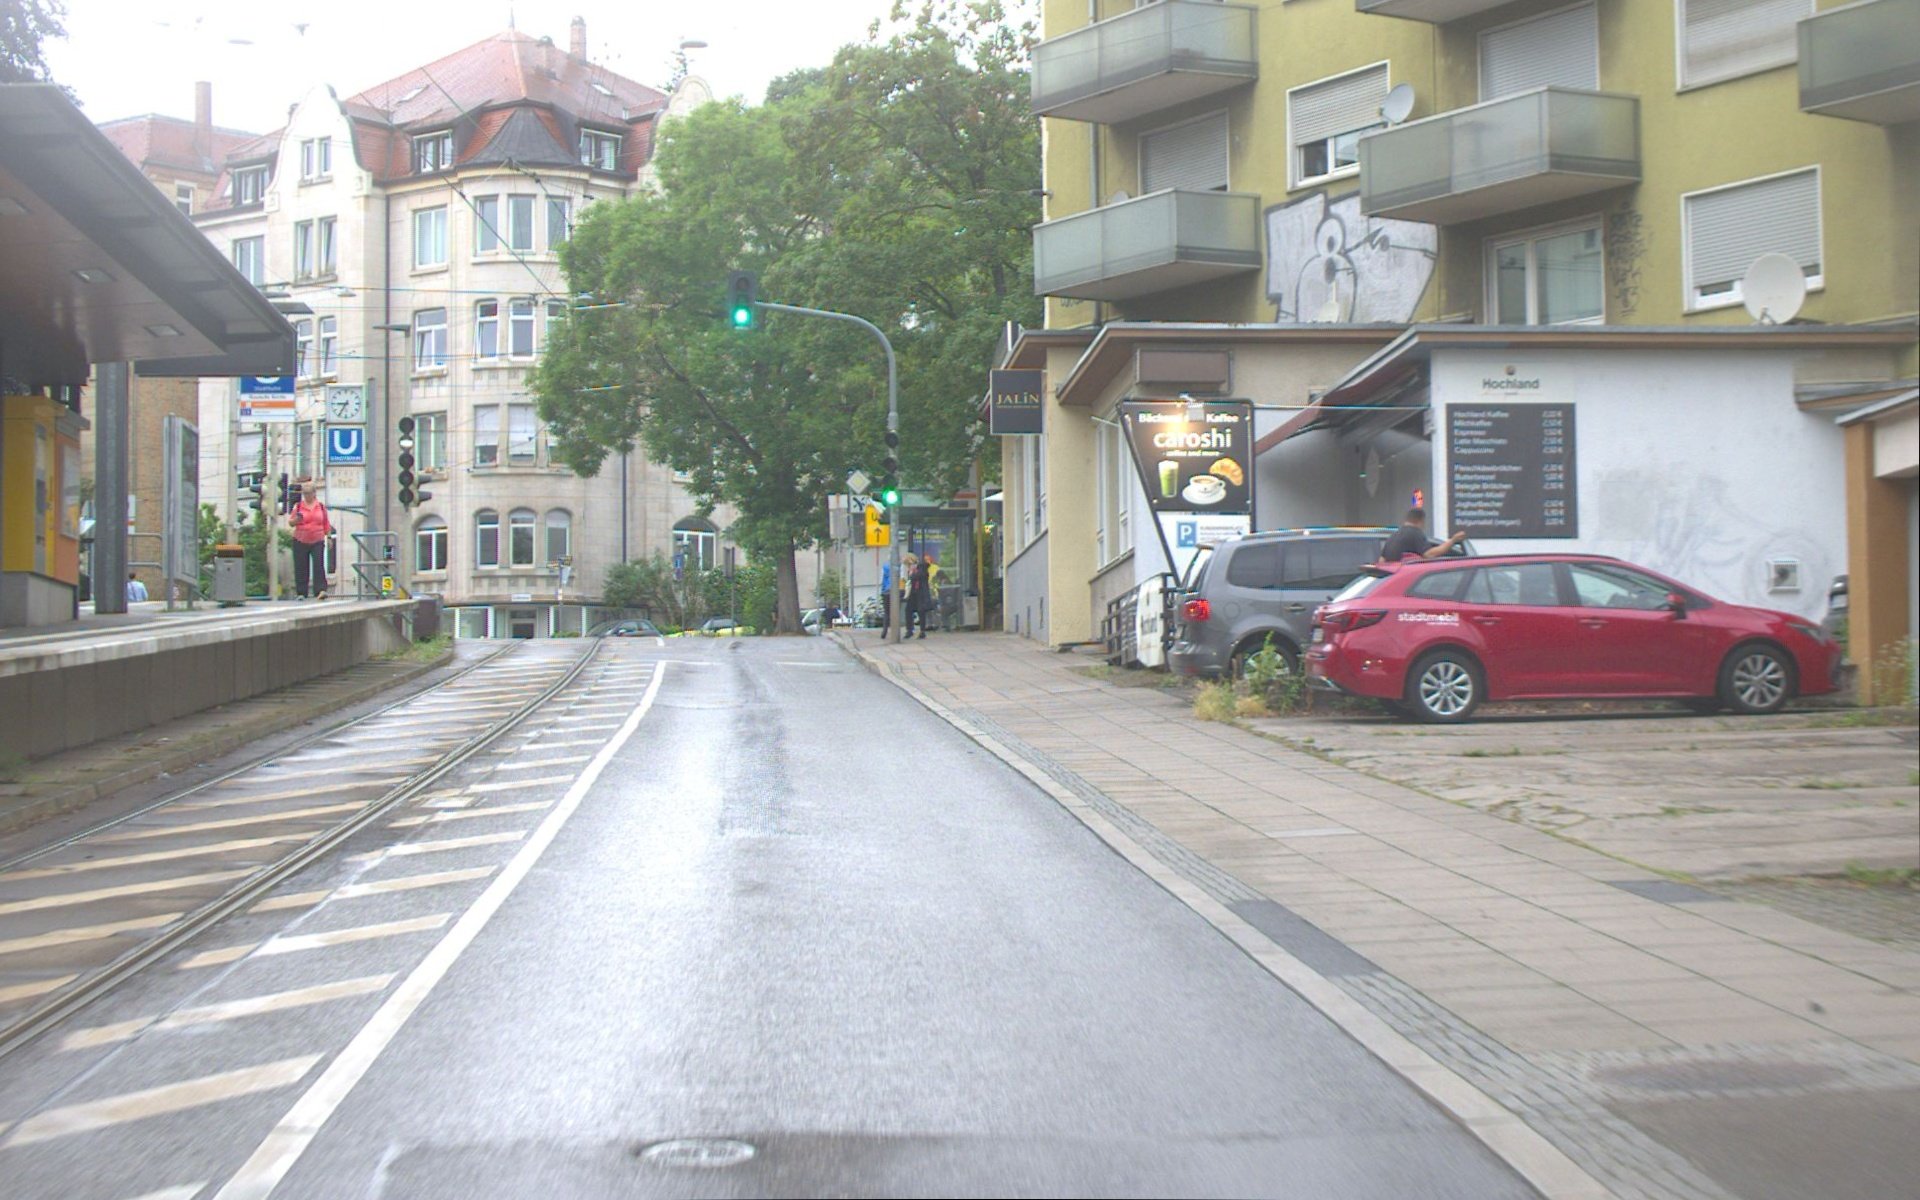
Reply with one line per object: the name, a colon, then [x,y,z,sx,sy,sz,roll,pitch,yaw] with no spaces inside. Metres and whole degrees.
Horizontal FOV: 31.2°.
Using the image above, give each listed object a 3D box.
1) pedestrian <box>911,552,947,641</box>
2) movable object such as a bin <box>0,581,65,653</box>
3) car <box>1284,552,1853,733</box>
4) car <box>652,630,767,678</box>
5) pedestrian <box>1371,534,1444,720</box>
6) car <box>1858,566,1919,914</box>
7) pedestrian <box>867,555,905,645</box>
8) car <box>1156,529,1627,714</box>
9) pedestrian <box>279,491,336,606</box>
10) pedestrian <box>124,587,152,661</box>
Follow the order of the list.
pedestrian: [-0.552,-0.064,60.838,0.545,1.548,0.559,-2,0,-6]
movable object such as a bin: [-18.847,0.338,69.758,1.021,1.429,1.427,2,0,-2]
car: [5.255,0.359,30.016,4.568,1.433,1.765,-1,0,-4]
car: [-8.562,1.846,117.556,1.736,1.503,3.661,-2,-1,44]
pedestrian: [4.206,0.248,32.286,0.607,1.708,0.721,-2,0,9]
car: [6.513,0.680,14.349,4.931,1.431,1.975,2,2,-3]
pedestrian: [-1.303,0.002,60.360,0.588,1.548,0.650,-2,0,-4]
car: [4.172,0.205,33.718,4.328,1.668,1.780,-1,0,-1]
pedestrian: [-8.834,-0.694,46.571,0.671,1.542,0.771,0,1,-4]
pedestrian: [-19.159,0.564,80.164,0.568,1.678,0.776,-1,-2,-11]
